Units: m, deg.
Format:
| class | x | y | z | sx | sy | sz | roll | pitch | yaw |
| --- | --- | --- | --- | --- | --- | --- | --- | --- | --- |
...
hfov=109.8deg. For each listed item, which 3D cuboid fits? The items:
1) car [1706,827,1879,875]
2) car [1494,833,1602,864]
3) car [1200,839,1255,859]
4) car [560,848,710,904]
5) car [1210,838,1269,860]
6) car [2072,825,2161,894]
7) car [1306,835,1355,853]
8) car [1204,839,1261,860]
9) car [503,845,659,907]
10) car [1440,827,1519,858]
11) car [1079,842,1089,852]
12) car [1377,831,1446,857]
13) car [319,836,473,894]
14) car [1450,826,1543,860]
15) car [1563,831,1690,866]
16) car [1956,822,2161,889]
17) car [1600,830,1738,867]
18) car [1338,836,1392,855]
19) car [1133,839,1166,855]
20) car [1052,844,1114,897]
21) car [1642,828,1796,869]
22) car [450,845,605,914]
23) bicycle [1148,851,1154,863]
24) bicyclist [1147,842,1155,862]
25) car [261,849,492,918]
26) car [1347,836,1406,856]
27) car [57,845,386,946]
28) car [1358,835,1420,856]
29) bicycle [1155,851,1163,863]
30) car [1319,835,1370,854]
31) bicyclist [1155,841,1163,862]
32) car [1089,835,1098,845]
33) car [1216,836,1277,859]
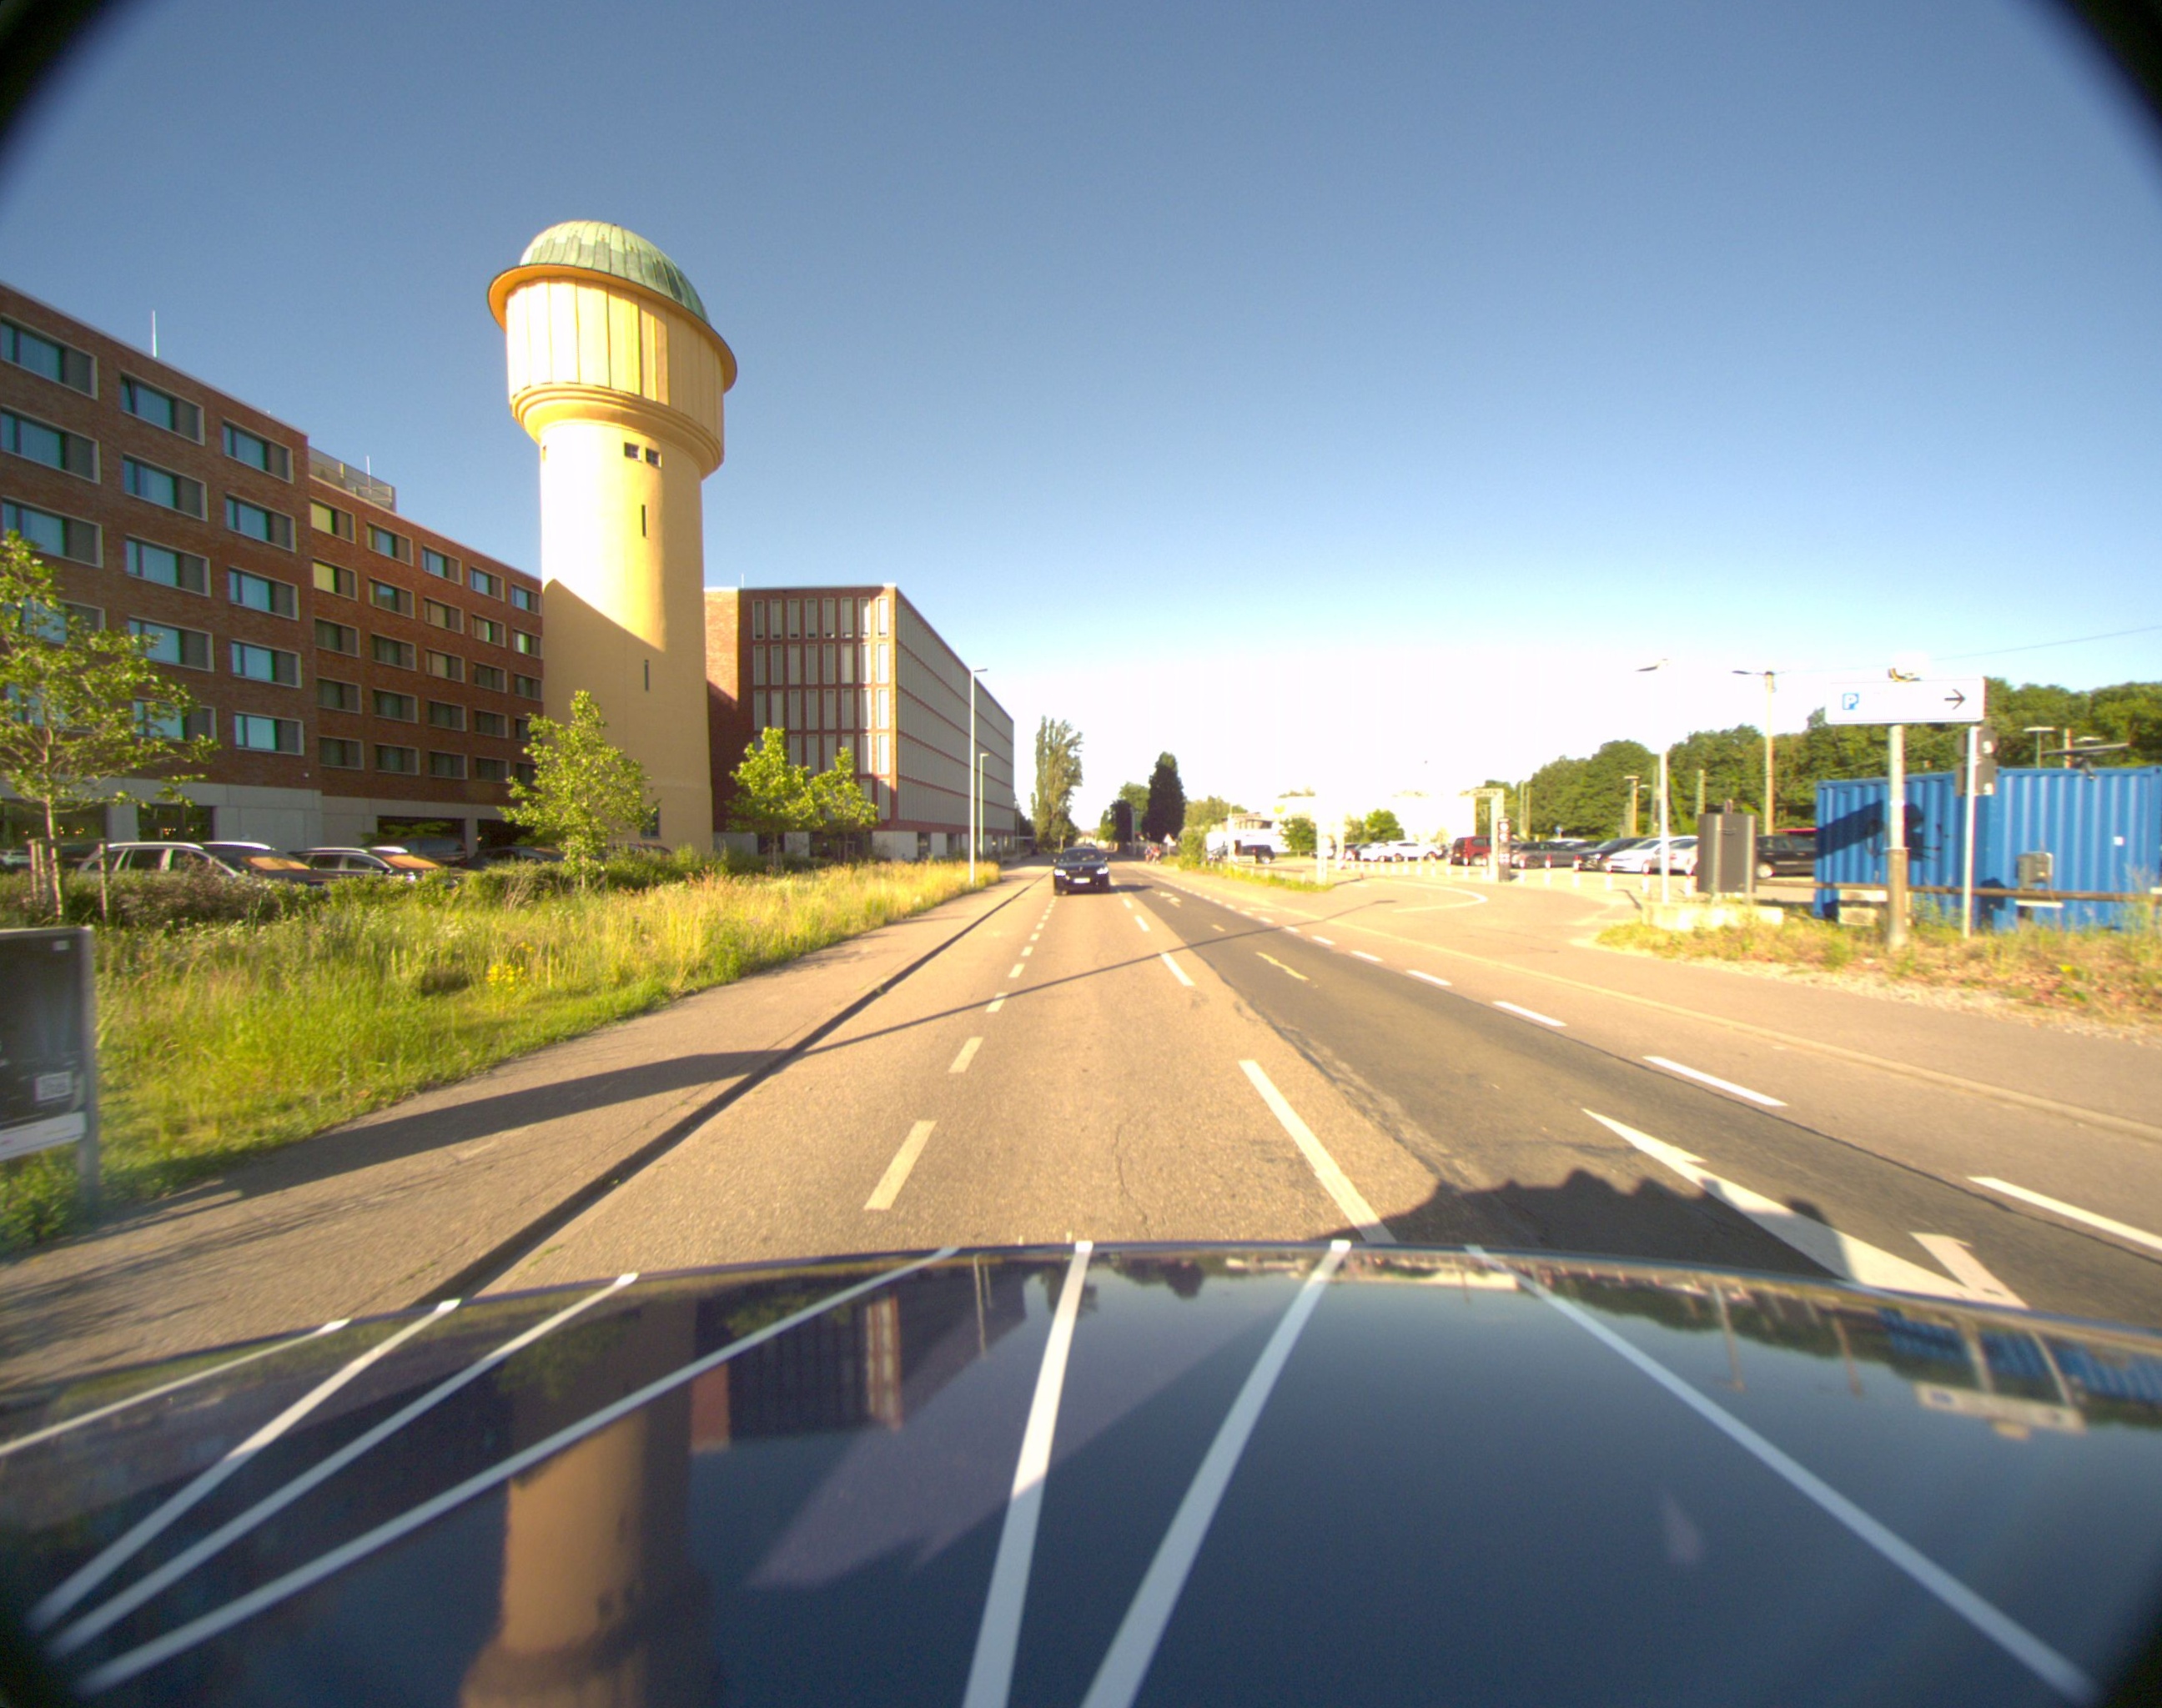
| class | x | y | z | sx | sy | sz | roll | pitch | yaw |
| --- | --- | --- | --- | --- | --- | --- | --- | --- | --- |
| car | 25.300 | -0.114 | 27.124 | 4.444 | 1.505 | 1.869 | -2 | 1 | -1 |
| car | 24.690 | -0.283 | 40.310 | 4.441 | 1.436 | 1.922 | -2 | 1 | 6 |
| car | 13.842 | -0.472 | 72.019 | 4.811 | 1.790 | 2.000 | -1 | 1 | 0 |
| car | -16.959 | 0.803 | 29.062 | 4.528 | 2.002 | 2.000 | -1 | 1 | 3 |
| car | 13.909 | -0.417 | 66.834 | 4.811 | 1.790 | 2.000 | -1 | 1 | 0 |
| car | 24.794 | 0.060 | 16.406 | 4.444 | 1.435 | 1.869 | -1 | 1 | -1 |
| car | 24.256 | -0.947 | 73.815 | 4.309 | 1.600 | 1.741 | -2 | 1 | -20 |
| car | 13.838 | -0.444 | 69.507 | 4.811 | 1.790 | 2.000 | -1 | 1 | 0 |
| car | -16.987 | 0.729 | 25.952 | 3.995 | 1.969 | 2.000 | -1 | 1 | 5 |
| car | 25.431 | -0.711 | 48.585 | 4.070 | 1.767 | 1.870 | -2 | 1 | 7 |
| car | 0.581 | -1.444 | 154.602 | 1.998 | 2.002 | 3.999 | -1 | 1 | 1 |
| car | 25.013 | -0.755 | 57.612 | 4.444 | 1.768 | 1.869 | -2 | 1 | -2 |
| car | -28.806 | 0.397 | 32.209 | 1.867 | 2.251 | 4.938 | -1 | 1 | 2 |
| car | 24.764 | -0.651 | 45.421 | 4.441 | 1.767 | 1.870 | -2 | 1 | 7 |
| car | 24.845 | -0.260 | 34.718 | 4.444 | 1.369 | 1.869 | -2 | 1 | -1 |
| car | 25.152 | 0.002 | 19.006 | 4.444 | 1.457 | 1.869 | -2 | 1 | -1 |
| car | 24.978 | -0.239 | 32.369 | 4.444 | 1.369 | 1.869 | -2 | 1 | -1 |
| car | 24.396 | -0.714 | 65.331 | 4.011 | 1.479 | 1.765 | -2 | 1 | -4 |
| car | 12.450 | -1.264 | 137.945 | 5.769 | 2.686 | 2.000 | -1 | 1 | 1 |
| car | 0.084 | 0.532 | 28.049 | 2.047 | 1.704 | 4.750 | -2 | 1 | 1 |
| car | 24.920 | -0.210 | 29.776 | 4.444 | 1.369 | 1.946 | -2 | 1 | -1 |
| car | -17.267 | 0.758 | 23.834 | 3.481 | 2.010 | 1.836 | -1 | 1 | 2 |
| bicycle | 6.539 | 0.272 | 71.123 | 0.503 | 1.118 | 1.566 | -2 | 1 | 2 |
| bicyclist | 6.555 | -0.217 | 71.117 | 0.568 | 1.860 | 0.853 | -1 | 1 | 1 |
| car | -16.962 | 0.684 | 18.429 | 3.995 | 1.541 | 1.835 | -1 | 1 | 5 |
| car | 24.315 | -0.680 | 62.564 | 4.156 | 1.479 | 1.765 | -2 | 1 | -4 |
| car | -17.068 | 0.770 | 15.275 | 4.329 | 1.817 | 2.000 | -1 | 1 | 1 |
| car | 24.353 | -0.651 | 60.052 | 4.157 | 1.477 | 1.761 | -2 | 1 | -4 |
| bicycle | 7.232 | 0.290 | 70.267 | 0.558 | 1.058 | 1.724 | -2 | 1 | 2 |
| car | 24.689 | -0.860 | 71.252 | 4.325 | 1.615 | 1.783 | -2 | 1 | -19 |
| bicyclist | 7.224 | -0.233 | 70.248 | 0.568 | 1.860 | 0.853 | -1 | 1 | 1 |
| car | 2.822 | -3.118 | 168.233 | 1.998 | 2.002 | 3.999 | -1 | 1 | 1 |
| car | 13.929 | -0.536 | 64.077 | 4.654 | 1.731 | 1.801 | -2 | 1 | -1 |
